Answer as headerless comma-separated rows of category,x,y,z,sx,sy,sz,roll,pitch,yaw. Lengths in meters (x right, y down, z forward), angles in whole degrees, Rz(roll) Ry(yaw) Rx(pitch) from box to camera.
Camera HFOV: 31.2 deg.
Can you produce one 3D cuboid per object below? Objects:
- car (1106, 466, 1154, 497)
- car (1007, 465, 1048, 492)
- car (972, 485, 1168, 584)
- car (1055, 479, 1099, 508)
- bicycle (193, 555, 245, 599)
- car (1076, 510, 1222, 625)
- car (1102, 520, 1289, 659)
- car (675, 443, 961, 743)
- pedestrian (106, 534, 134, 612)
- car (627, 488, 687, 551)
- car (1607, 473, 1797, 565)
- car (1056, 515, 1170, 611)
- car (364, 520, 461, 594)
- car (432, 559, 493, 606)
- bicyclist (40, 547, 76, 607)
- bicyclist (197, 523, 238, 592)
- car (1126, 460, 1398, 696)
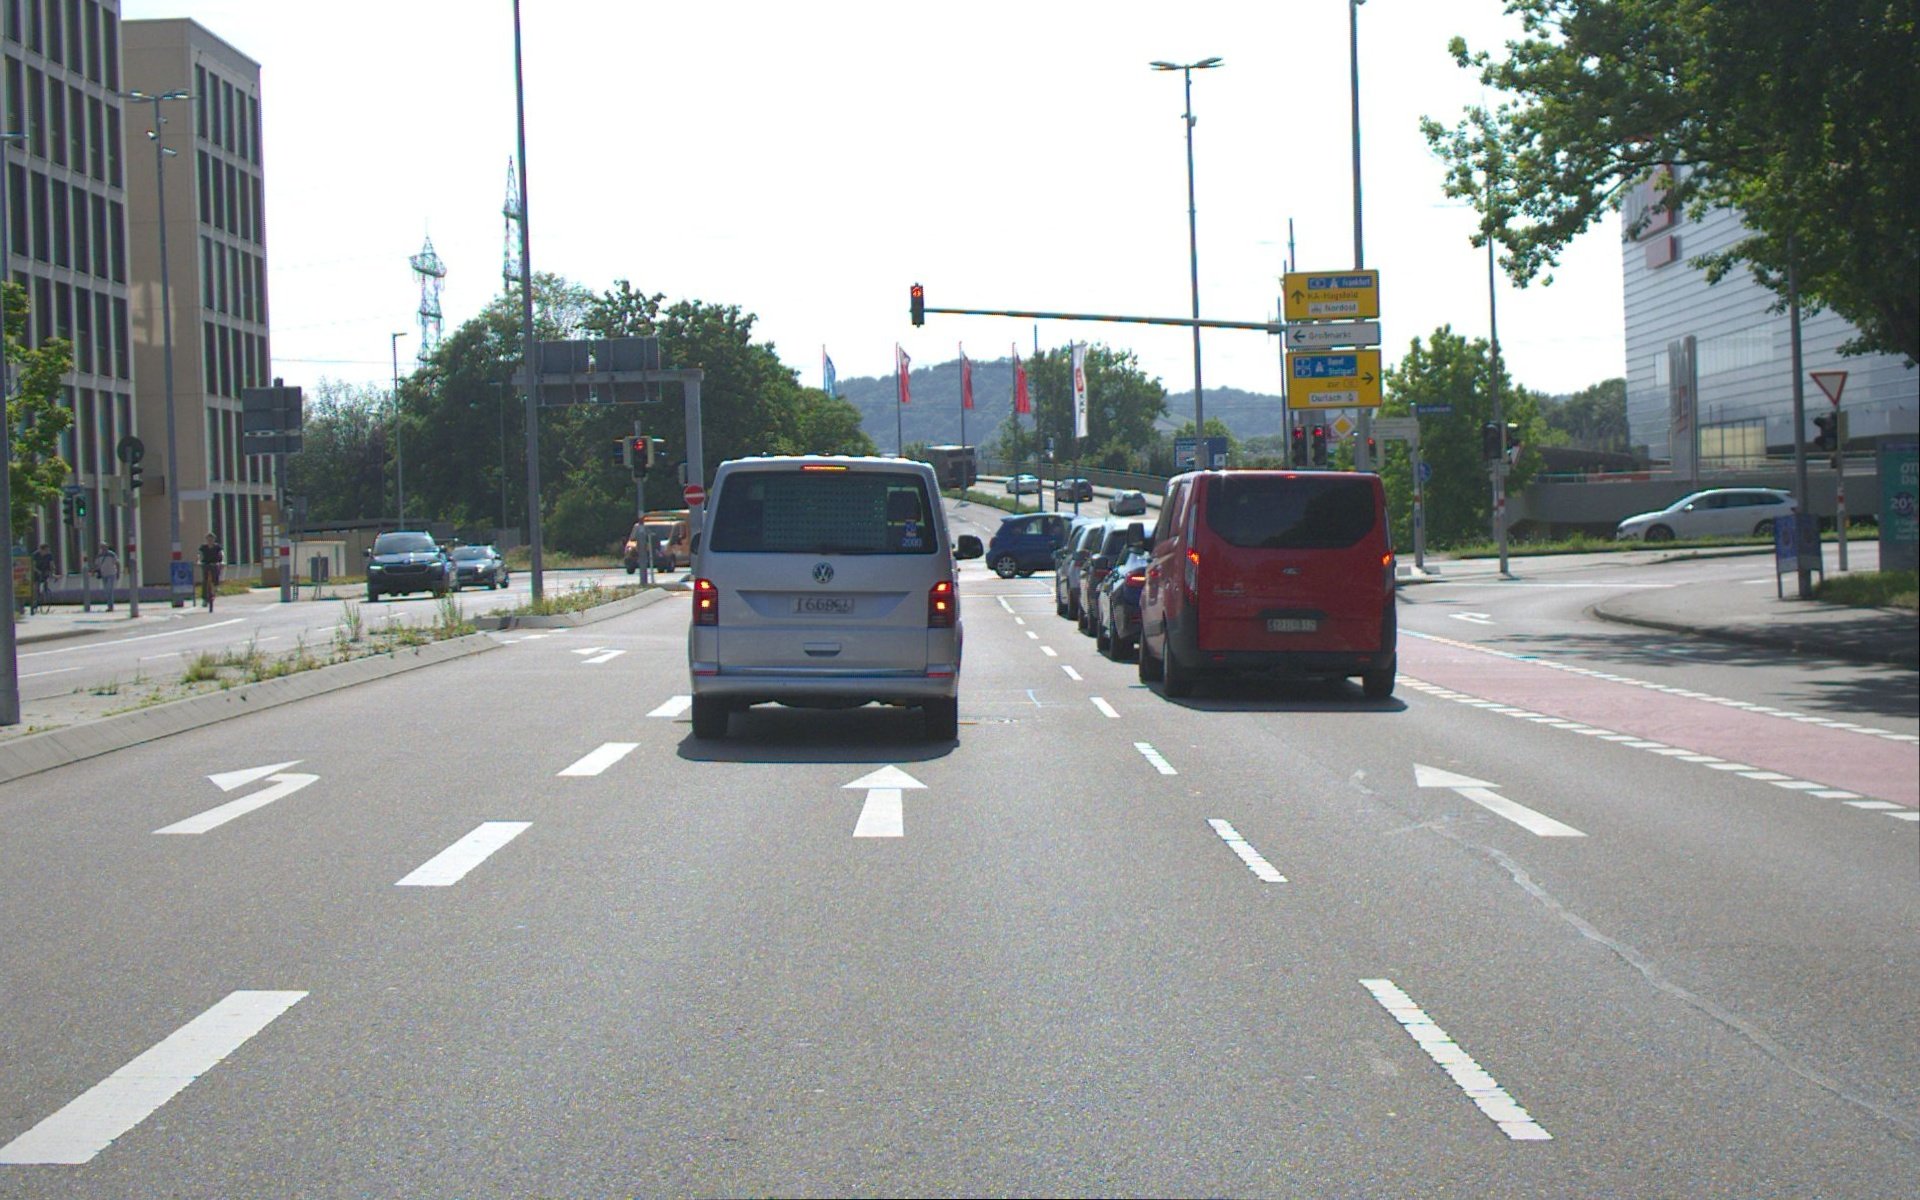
car,11.219,-7.834,227.496,1.993,2.007,4.001,-1,2,-16
car,4.993,-9.050,256.060,1.993,2.007,4.001,-1,2,-16
car,2.573,-1.533,80.298,4.402,1.987,1.481,-4,1,2
car,8.310,-7.555,243.792,1.993,2.007,4.001,-1,2,-16
bicycle,-16.725,-0.528,77.630,0.680,0.937,1.973,-3,1,0
car,2.568,-0.484,47.477,1.746,1.511,4.078,0,2,-1
car,2.596,-0.164,38.776,1.746,1.453,4.476,0,2,-1
car,-0.960,-0.097,24.848,1.884,1.983,4.000,0,1,-1
pedestrian,-21.771,-0.712,89.132,0.558,2.007,0.576,0,1,1
car,-12.858,-3.424,146.224,2.405,2.552,6.897,-2,2,-5
car,18.624,-2.041,86.410,4.402,1.987,1.481,-4,1,5
car,2.397,-0.609,54.447,1.578,1.453,3.786,0,2,-1
car,-13.153,-1.061,82.807,1.738,1.613,4.210,-4,2,-3
car,-16.566,-0.599,114.627,1.576,1.404,4.380,-2,2,-3
bicyclist,-22.668,-0.584,86.381,0.630,1.496,1.028,-1,1,-1
bicyclist,-16.716,-0.968,77.450,0.618,1.521,1.036,-3,1,1
car,2.660,-0.252,31.397,1.967,1.961,5.126,0,2,-1
